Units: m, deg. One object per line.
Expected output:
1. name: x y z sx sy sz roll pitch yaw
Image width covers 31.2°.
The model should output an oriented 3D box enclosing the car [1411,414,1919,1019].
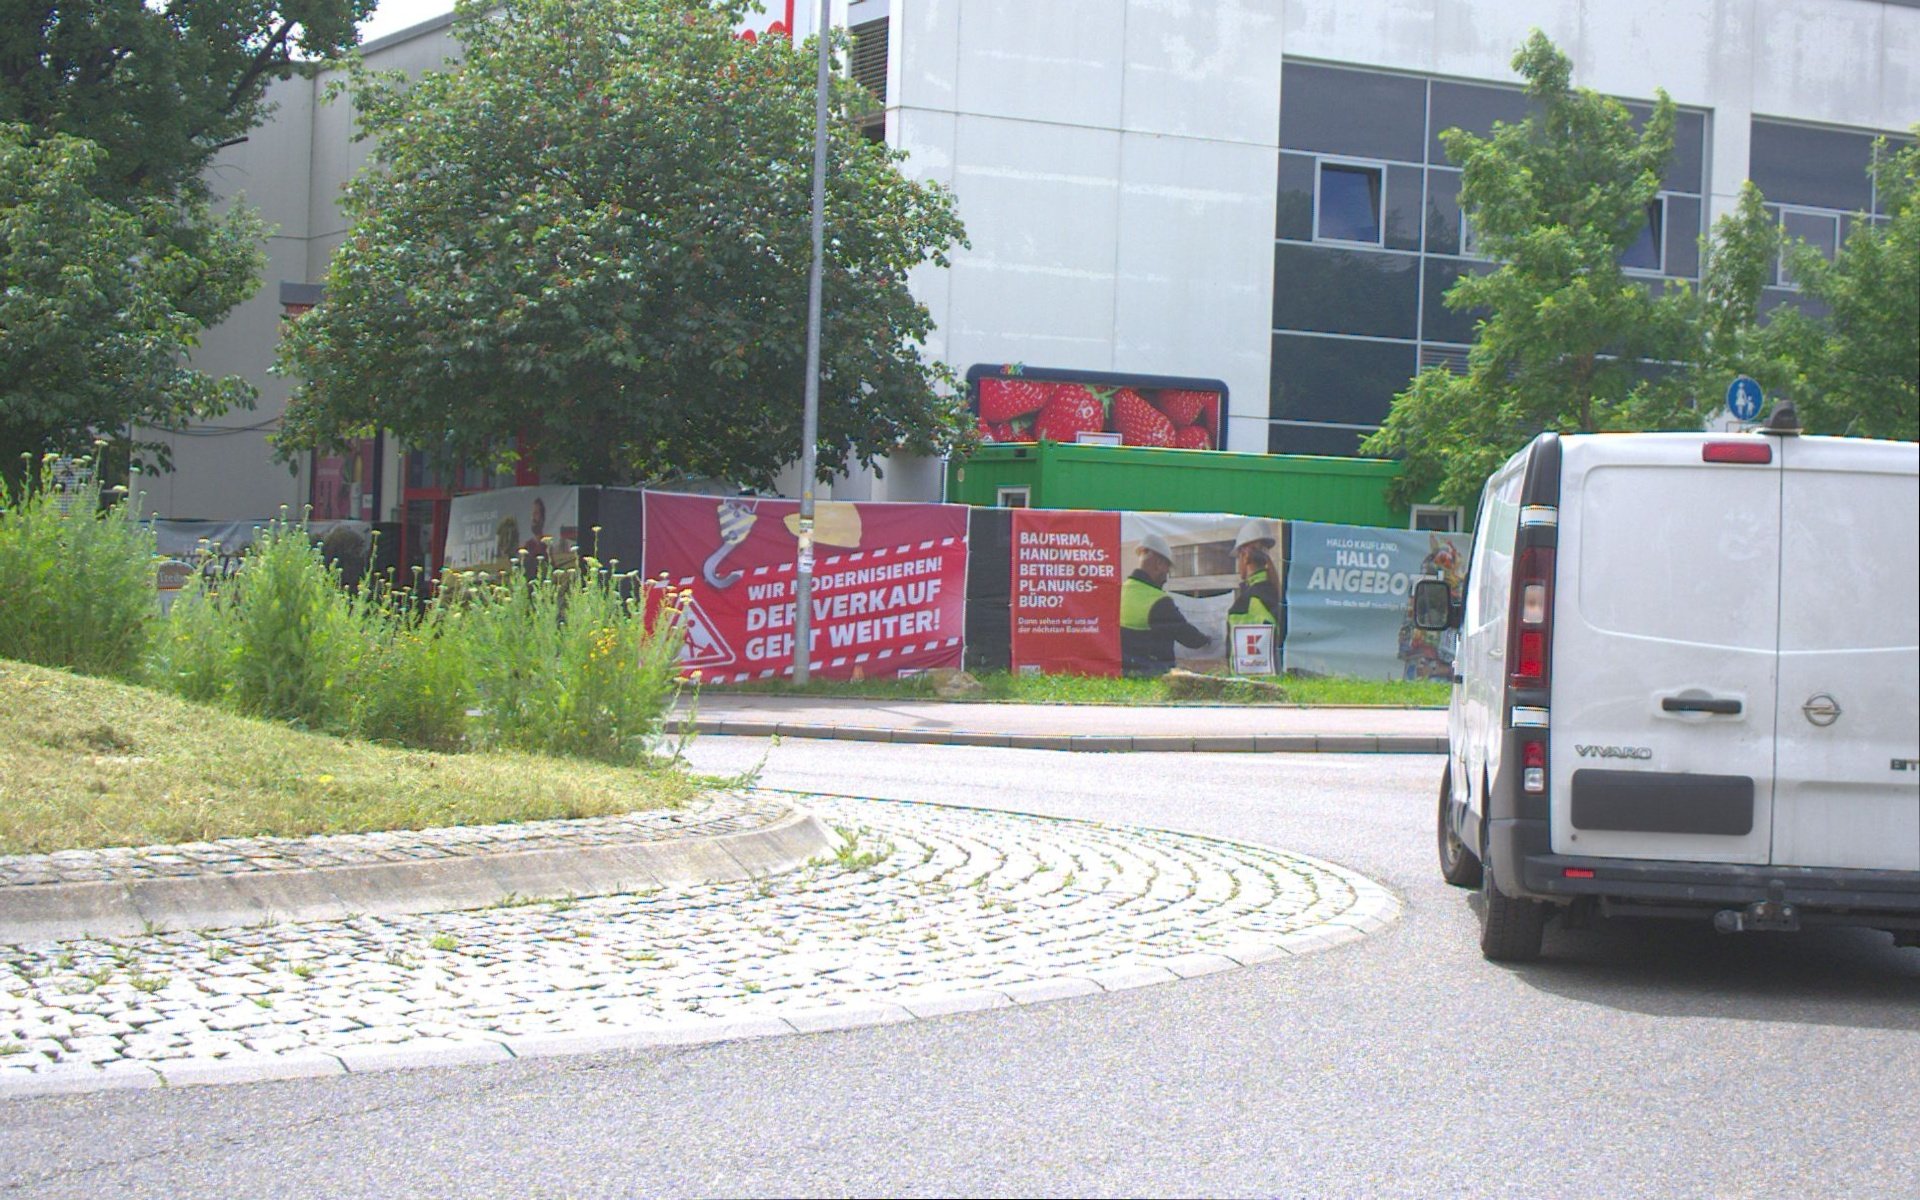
1. car: 2.989 0.422 14.077 2.035 1.939 4.992 4 0 6
